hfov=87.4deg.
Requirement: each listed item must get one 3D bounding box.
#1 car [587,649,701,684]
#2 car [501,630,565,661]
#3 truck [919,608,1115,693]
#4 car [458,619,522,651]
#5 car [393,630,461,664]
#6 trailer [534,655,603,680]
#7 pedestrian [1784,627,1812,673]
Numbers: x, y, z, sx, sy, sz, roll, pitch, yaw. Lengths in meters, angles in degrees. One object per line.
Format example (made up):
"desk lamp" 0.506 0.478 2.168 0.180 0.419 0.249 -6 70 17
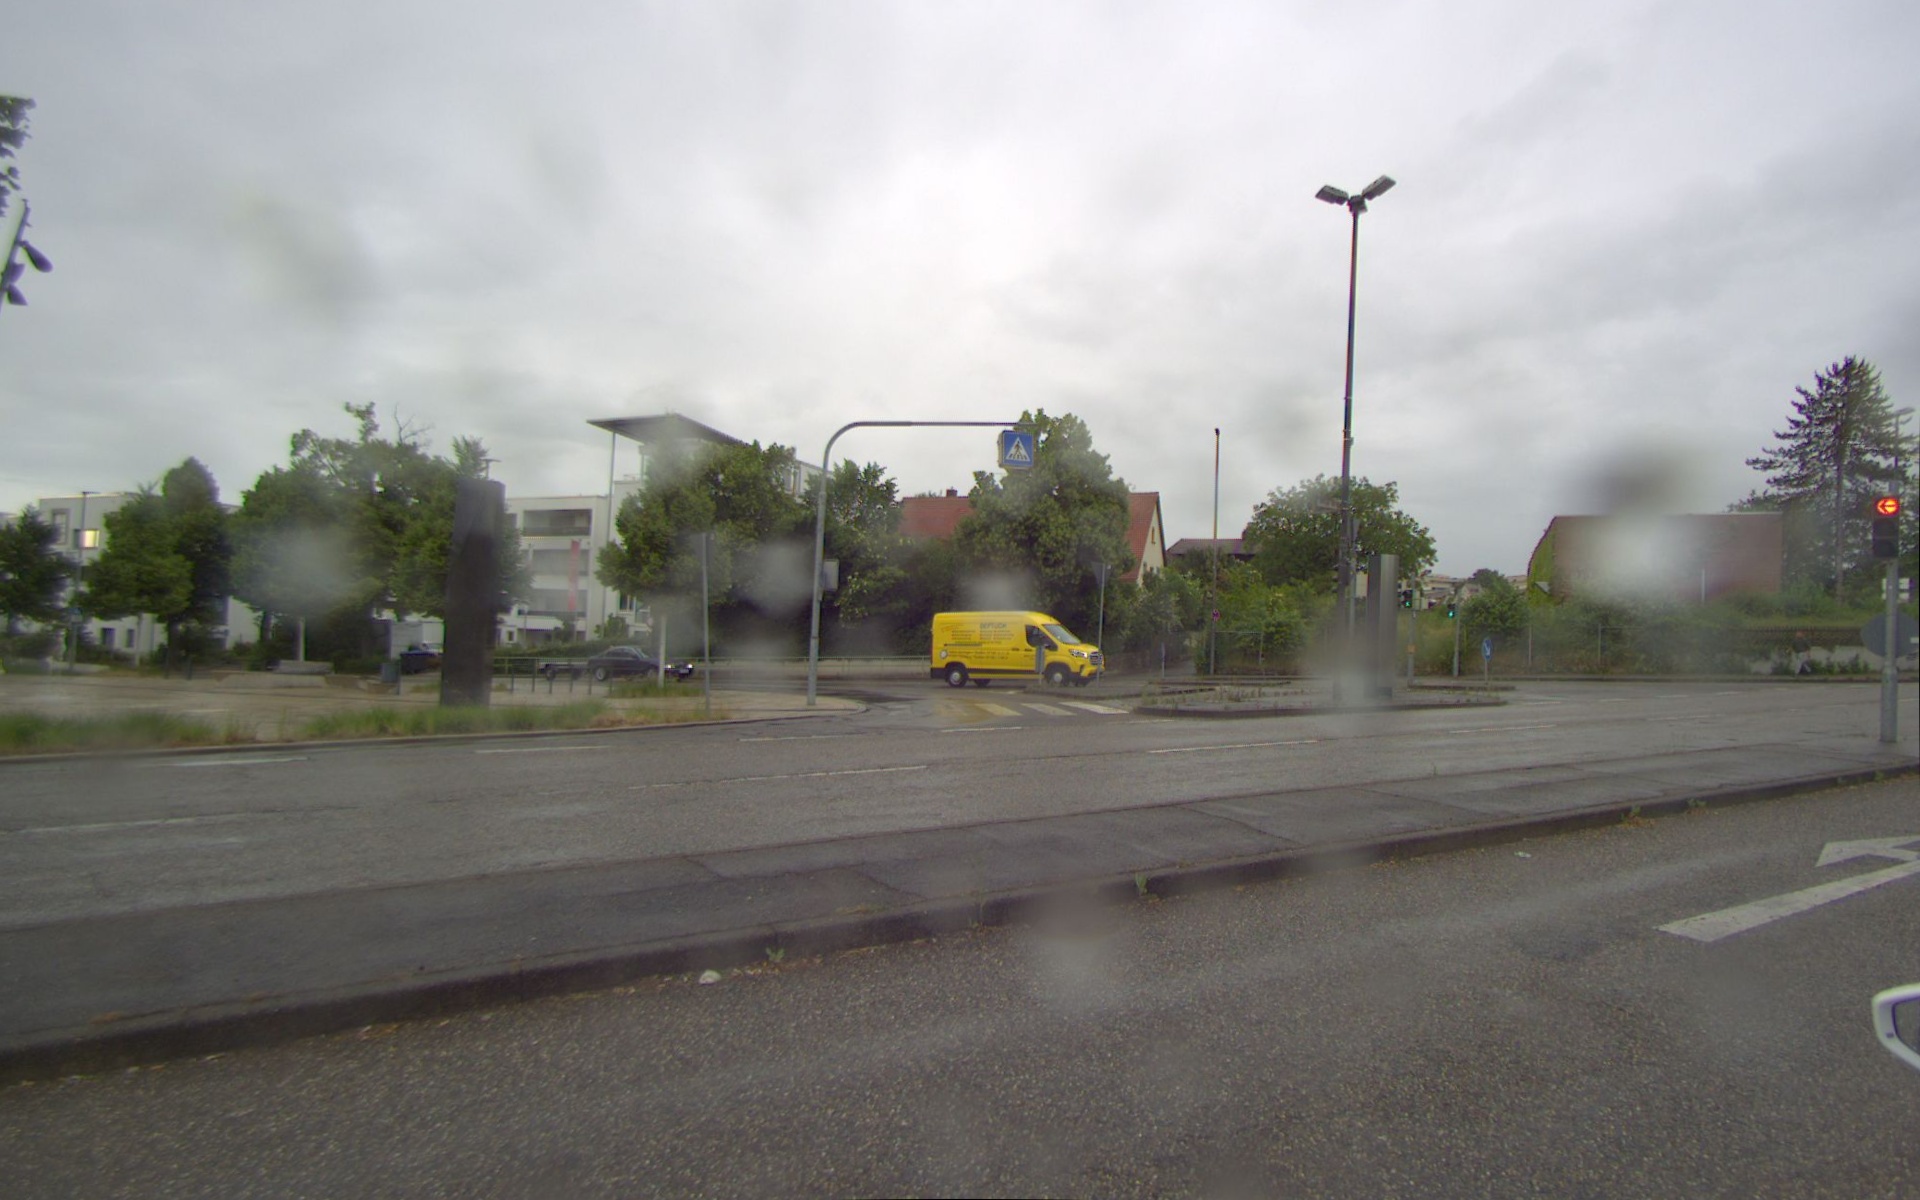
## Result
"car" -12.714 2.638 40.376 4.276 1.334 1.863 -1 -4 27
"car" -31.016 3.286 72.971 3.921 2.040 2.000 2 0 20
"truck" 1.823 1.658 32.998 6.062 2.571 2.226 -1 -4 28
"car" -33.163 2.463 70.879 3.921 2.040 1.791 2 0 20
"car" -35.660 3.112 67.165 3.921 2.040 1.791 2 0 20
"trailer" -16.482 2.830 42.335 2.244 0.991 1.607 -1 -4 27
"pedestrian" 30.749 1.822 36.859 0.490 1.663 0.553 0 -2 0
